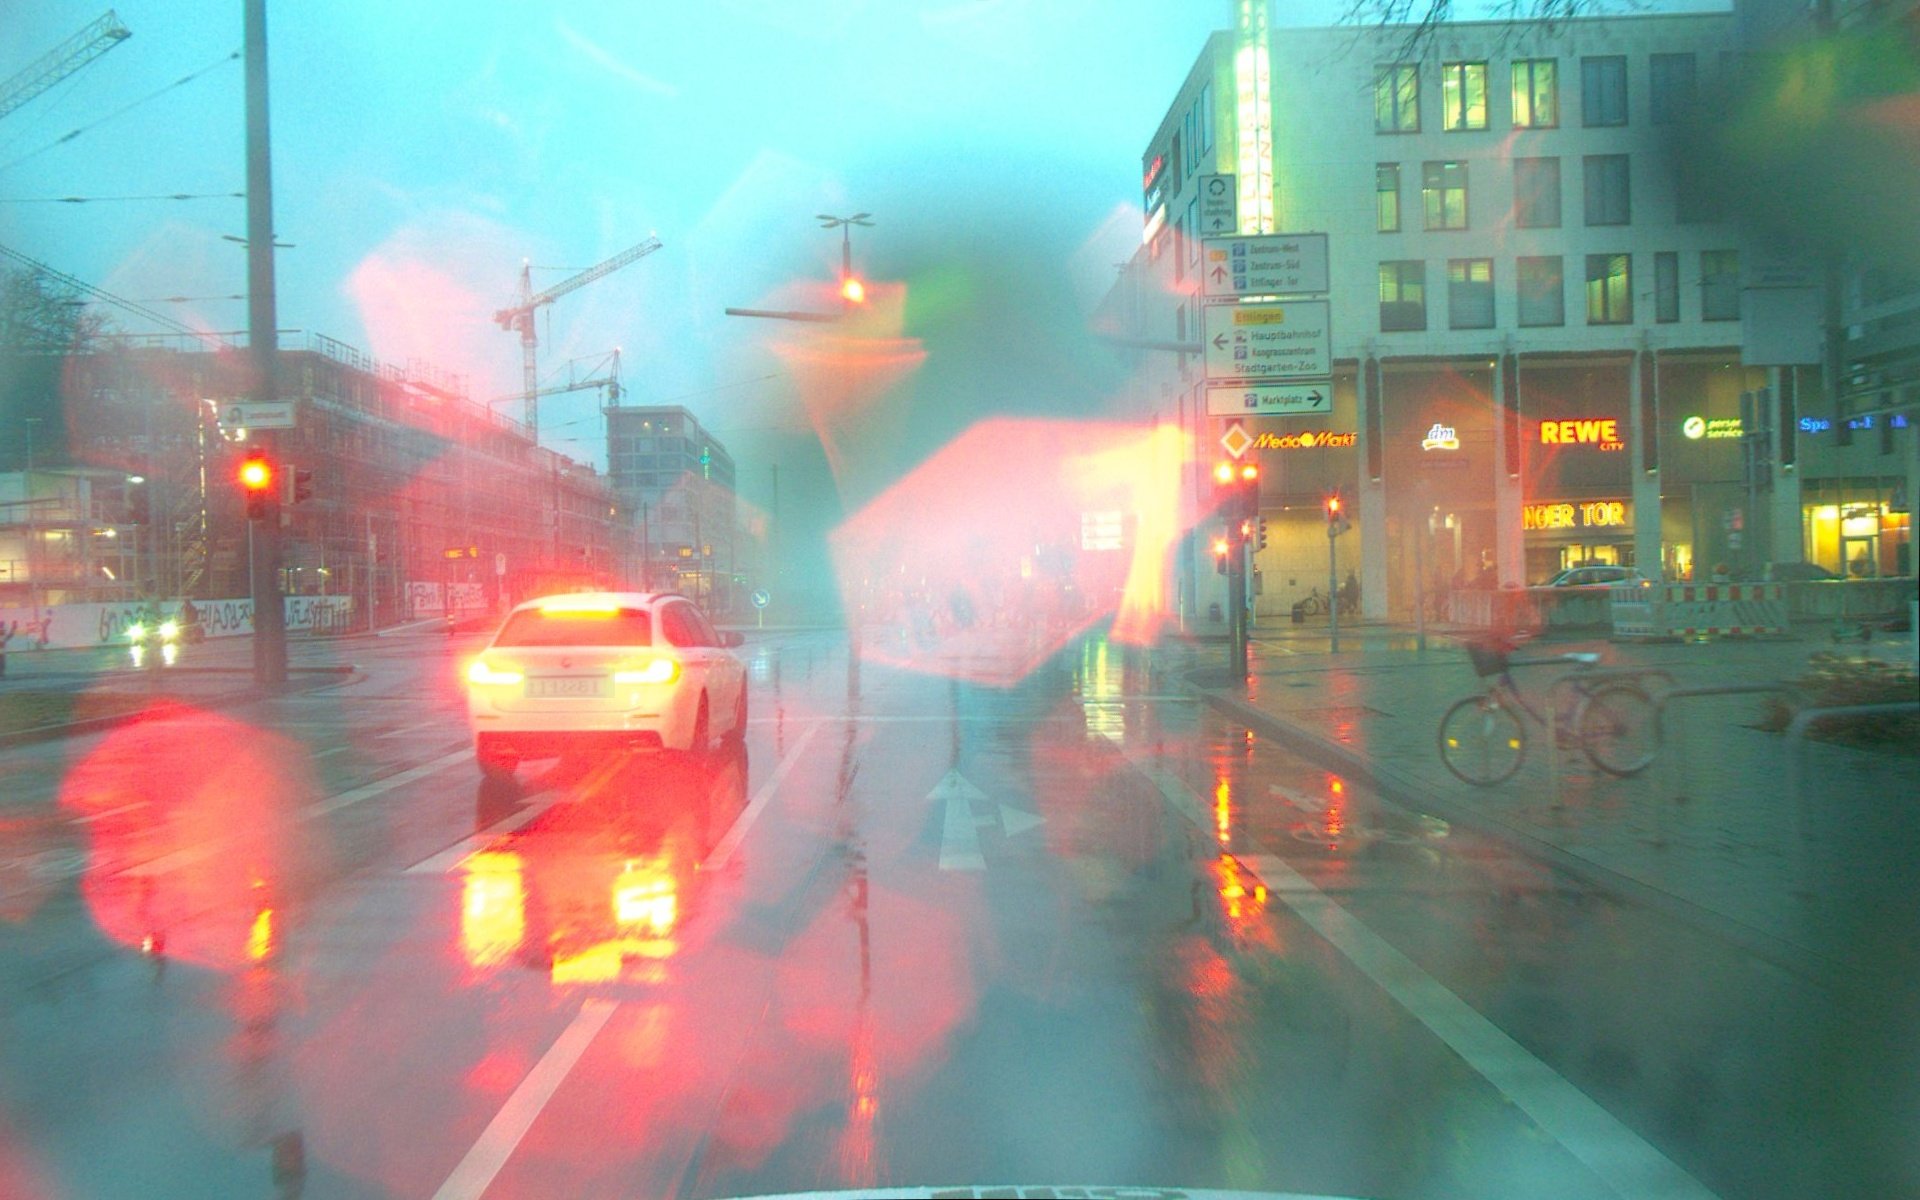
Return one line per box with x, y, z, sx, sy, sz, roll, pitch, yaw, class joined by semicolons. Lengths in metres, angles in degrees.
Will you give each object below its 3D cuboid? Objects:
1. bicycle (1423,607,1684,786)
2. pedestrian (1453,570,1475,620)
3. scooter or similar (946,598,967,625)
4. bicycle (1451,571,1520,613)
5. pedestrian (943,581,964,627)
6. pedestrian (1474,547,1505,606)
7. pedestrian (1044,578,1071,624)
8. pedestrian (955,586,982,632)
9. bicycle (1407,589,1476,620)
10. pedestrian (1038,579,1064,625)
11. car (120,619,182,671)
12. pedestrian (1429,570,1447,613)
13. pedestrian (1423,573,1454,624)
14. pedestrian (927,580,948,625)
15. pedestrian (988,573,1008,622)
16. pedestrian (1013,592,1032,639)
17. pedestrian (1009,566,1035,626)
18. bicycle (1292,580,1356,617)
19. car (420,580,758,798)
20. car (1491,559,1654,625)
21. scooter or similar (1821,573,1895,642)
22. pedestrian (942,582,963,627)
4.329;0.688;12.099;1.716;1.168;0.435;-4;0;-4;bicycle
17.436;-0.179;57.188;0.526;1.714;0.546;-2;0;38;pedestrian
-0.132;0.424;62.847;0.725;1.010;0.400;-2;0;2;scooter or similar
14.851;-0.233;46.809;1.806;1.112;0.618;-2;0;16;bicycle
-0.251;0.150;60.048;0.692;1.647;0.613;-2;0;-2;pedestrian
14.967;-0.662;46.763;0.764;1.623;0.613;-2;0;16;pedestrian
3.738;0.040;63.228;0.829;1.718;0.674;-2;0;-15;pedestrian
0.317;0.334;60.533;0.803;1.647;0.536;-2;0;38;pedestrian
15.527;0.142;53.332;2.085;1.009;0.541;0;-1;-1;bicycle
3.440;0.075;62.291;0.815;1.708;0.618;-2;0;-9;pedestrian
-34.539;1.896;70.691;1.728;2.049;3.980;-2;0;-18;car
19.681;-0.330;68.082;0.526;1.747;0.500;-2;0;38;pedestrian
15.437;-0.046;53.344;0.798;1.597;0.536;-2;0;0;pedestrian
-0.872;0.084;62.877;0.725;1.696;0.400;-2;0;2;pedestrian
1.412;-0.094;61.588;0.607;1.776;0.612;-2;0;-5;pedestrian
2.415;0.600;63.782;0.688;1.791;0.667;-2;0;0;pedestrian
2.230;-0.138;59.571;0.681;2.124;0.604;-2;0;-39;pedestrian
14.359;-0.065;65.218;2.377;1.352;0.634;-2;1;-5;bicycle
-3.028;0.641;14.628;1.870;1.547;4.923;-2;0;-1;car
18.270;-0.235;49.440;4.212;1.792;1.708;-2;0;4;car
15.435;0.125;28.451;0.593;1.150;1.235;-2;0;1;scooter or similar
-0.267;0.155;61.578;0.692;1.647;0.680;-2;0;2;pedestrian
